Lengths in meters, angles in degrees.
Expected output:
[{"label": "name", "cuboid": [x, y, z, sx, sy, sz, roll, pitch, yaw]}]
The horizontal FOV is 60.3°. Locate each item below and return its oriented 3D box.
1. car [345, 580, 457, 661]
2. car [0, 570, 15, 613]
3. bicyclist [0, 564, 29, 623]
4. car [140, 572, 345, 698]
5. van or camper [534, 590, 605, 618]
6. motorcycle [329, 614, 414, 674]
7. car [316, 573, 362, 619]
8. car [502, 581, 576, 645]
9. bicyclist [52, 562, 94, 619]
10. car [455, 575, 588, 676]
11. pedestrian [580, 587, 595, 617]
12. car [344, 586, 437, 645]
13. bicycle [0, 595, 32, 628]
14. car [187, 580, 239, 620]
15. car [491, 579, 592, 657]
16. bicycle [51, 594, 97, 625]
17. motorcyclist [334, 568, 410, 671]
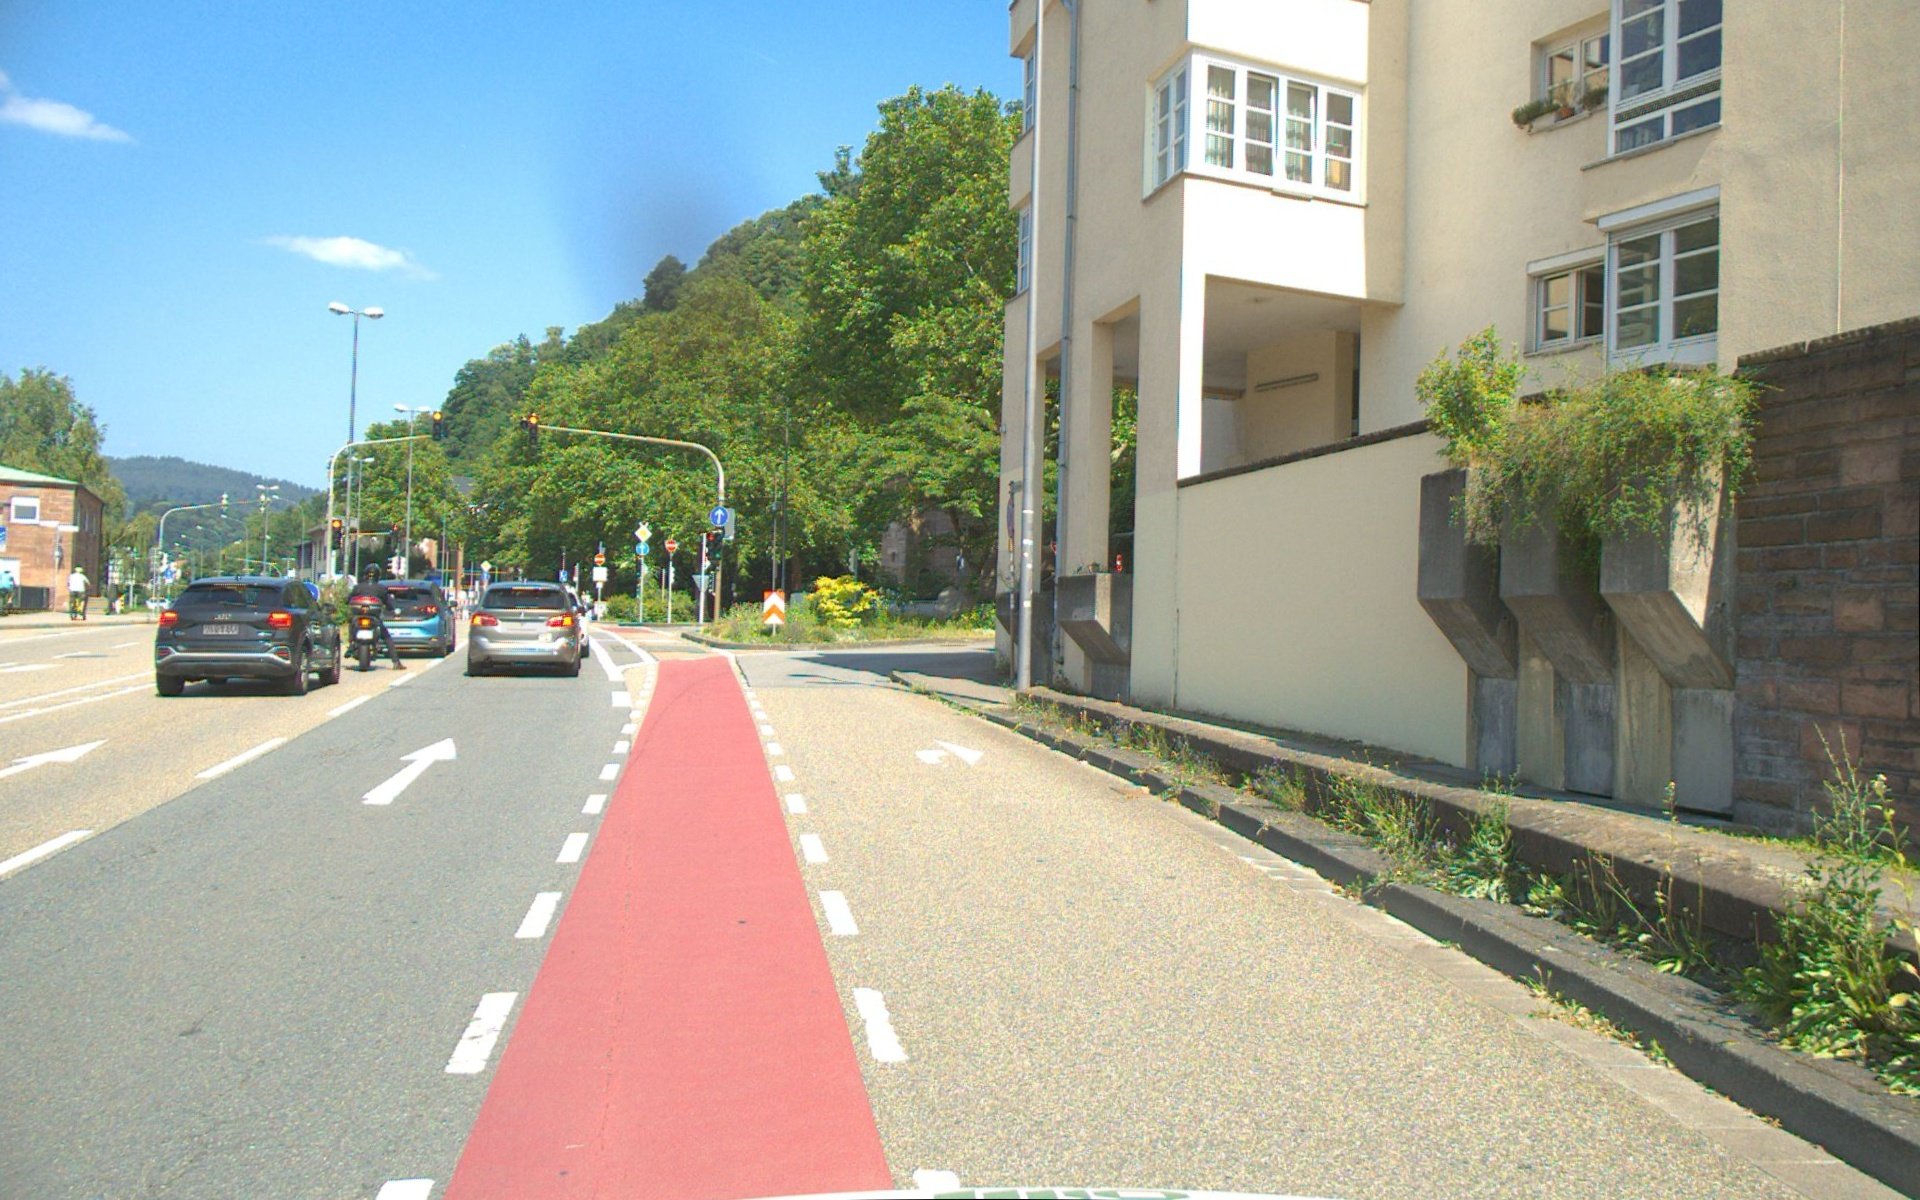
[{"label": "car", "cuboid": [-11.577, 0.382, 34.461, 1.835, 1.589, 3.986, 0, 1, -14]}, {"label": "car", "cuboid": [-47.544, -0.414, 78.184, 1.960, 2.049, 4.601, 1, 0, 35]}, {"label": "bicyclist", "cuboid": [-33.674, -0.231, 58.441, 1.195, 2.049, 1.111, 0, 0, -22]}, {"label": "car", "cuboid": [-9.618, 0.423, 22.497, 1.837, 1.540, 4.136, 0, 0, -13]}, {"label": "van or camper", "cuboid": [-27.614, 0.270, 116.945, 4.446, 1.935, 2.001, 0, 0, 4]}, {"label": "motorcycle", "cuboid": [-10.023, 0.727, 28.266, 1.019, 0.935, 2.597, 0, 1, -12]}, {"label": "car", "cuboid": [-36.057, -0.240, 95.913, 2.350, 2.621, 6.015, 0, 0, -22]}, {"label": "car", "cuboid": [-10.851, 0.305, 42.705, 1.755, 1.559, 4.719, 0, 0, -14]}, {"label": "bicyclist", "cuboid": [-32.370, -0.338, 60.396, 1.195, 2.049, 1.111, 0, 0, -22]}, {"label": "car", "cuboid": [-7.458, 0.410, 28.482, 1.855, 1.547, 4.294, 2, 0, -11]}, {"label": "pedestrian", "cuboid": [-21.557, 0.093, 95.827, 0.747, 1.738, 0.877, 0, 0, -6]}, {"label": "car", "cuboid": [-14.278, 0.356, 41.654, 1.835, 1.382, 3.986, 0, 1, -14]}, {"label": "bicycle", "cuboid": [-33.579, 0.383, 58.258, 1.196, 1.109, 2.580, 0, 1, -22]}, {"label": "car", "cuboid": [-40.486, -0.030, 89.728, 2.182, 2.115, 5.013, 0, 1, -21]}, {"label": "car", "cuboid": [-8.985, 0.338, 35.813, 1.959, 1.560, 4.843, 0, 1, -13]}, {"label": "bicycle", "cuboid": [-32.400, 0.339, 60.493, 1.196, 1.109, 2.580, 0, 1, -22]}, {"label": "motorcyclist", "cuboid": [-10.003, 0.320, 28.180, 1.057, 1.713, 1.152, 0, 0, -12]}]
